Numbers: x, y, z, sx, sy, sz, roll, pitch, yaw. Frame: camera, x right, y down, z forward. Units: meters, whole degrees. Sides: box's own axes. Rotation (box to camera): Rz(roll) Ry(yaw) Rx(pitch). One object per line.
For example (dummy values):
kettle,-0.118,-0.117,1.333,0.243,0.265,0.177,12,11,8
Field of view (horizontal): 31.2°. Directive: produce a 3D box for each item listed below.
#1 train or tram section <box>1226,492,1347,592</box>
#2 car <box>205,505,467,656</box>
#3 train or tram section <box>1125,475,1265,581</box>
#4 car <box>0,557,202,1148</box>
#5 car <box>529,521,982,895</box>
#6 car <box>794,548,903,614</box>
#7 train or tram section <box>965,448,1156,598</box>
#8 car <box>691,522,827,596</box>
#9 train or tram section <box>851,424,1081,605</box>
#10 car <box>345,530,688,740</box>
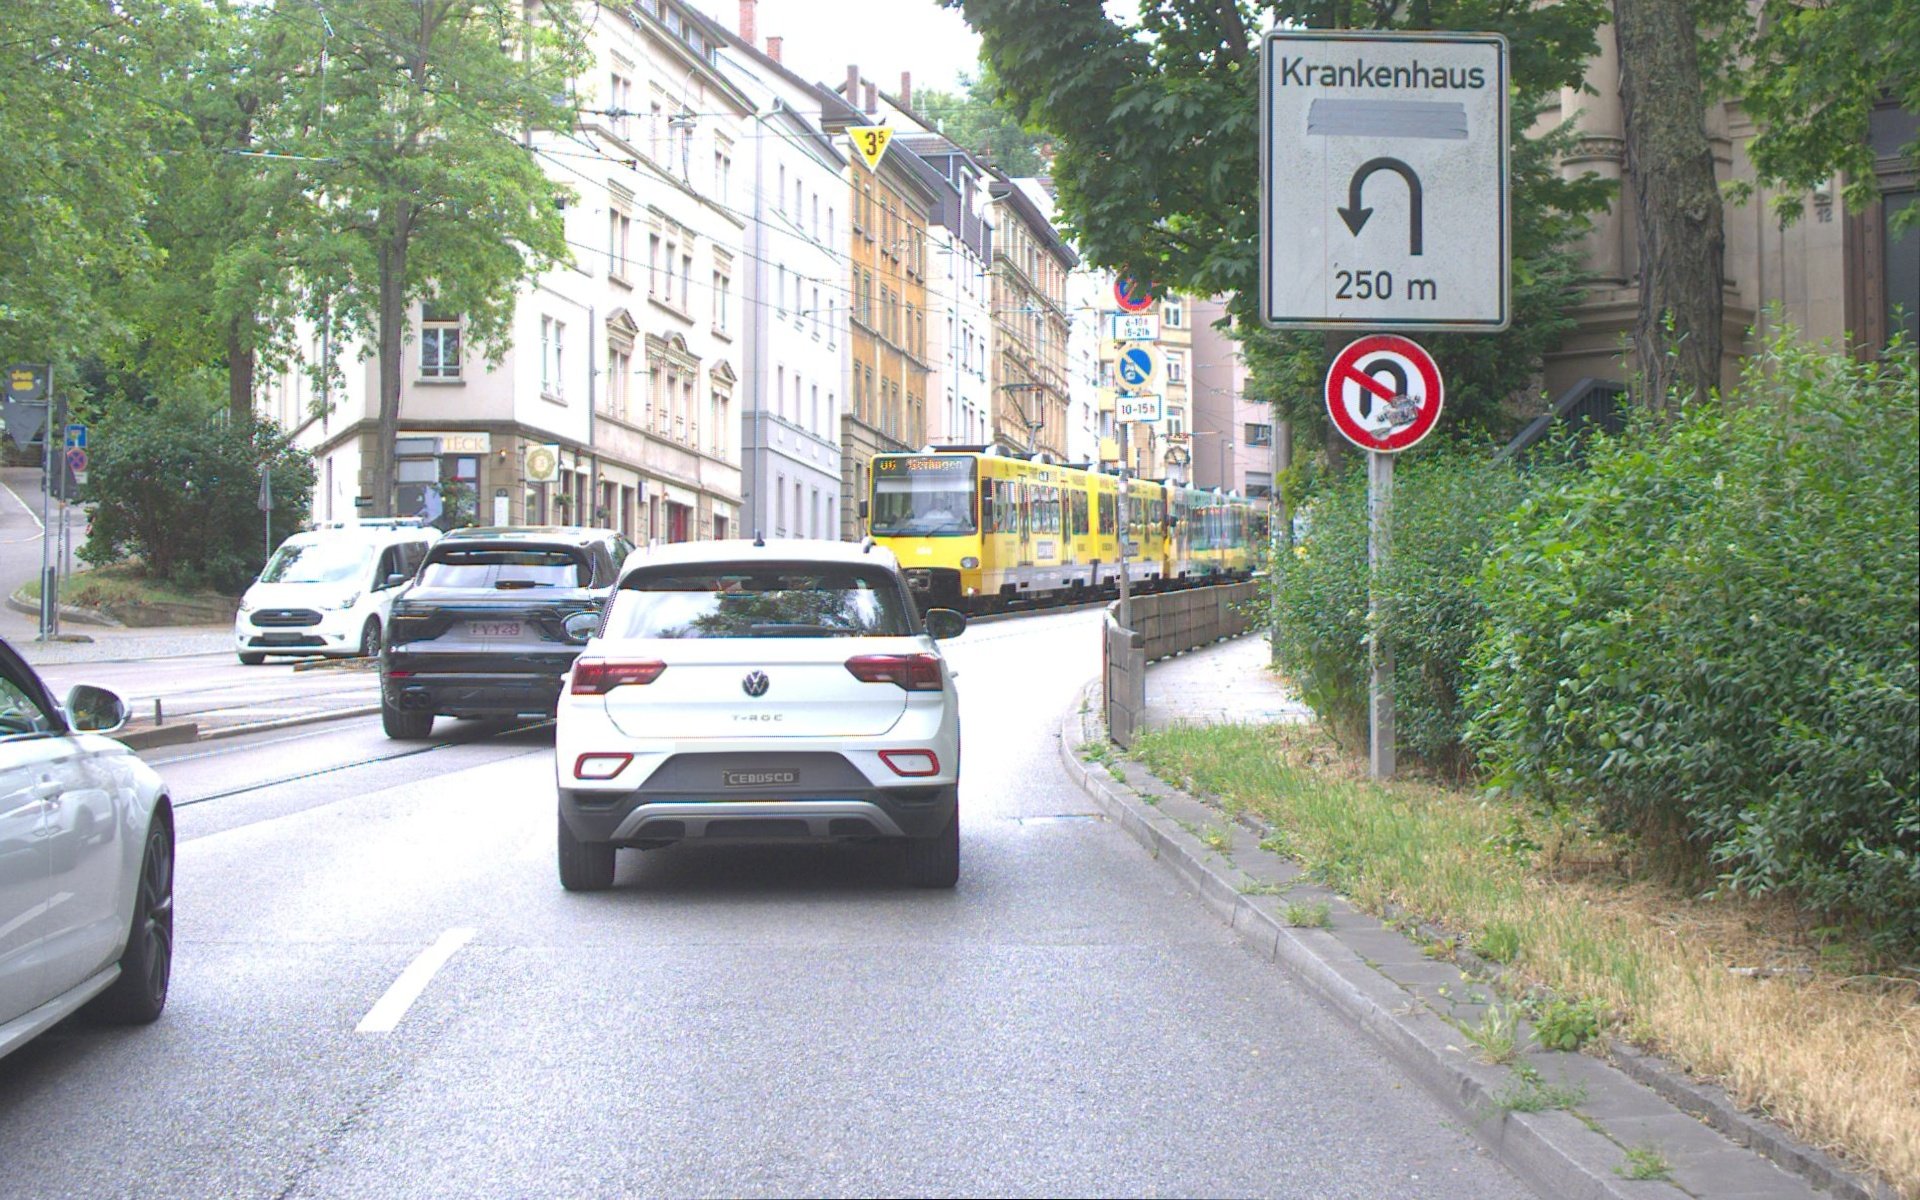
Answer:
train or tram section,14.764,-2.566,153.757,3.018,4.199,18.849,0,1,13
car,-8.406,-0.308,46.806,1.948,1.939,5.001,0,1,9
train or tram section,9.172,-2.690,131.560,2.878,3.713,18.747,2,1,11
car,-3.332,0.622,8.964,1.878,1.450,4.618,0,1,-3
car,-0.965,0.418,16.326,1.878,1.549,4.001,0,1,-3
car,-2.680,-0.486,83.291,1.994,1.546,3.999,-1,1,8
train or tram section,3.050,-2.069,95.853,2.877,3.713,18.696,1,1,9
car,-4.155,-0.860,71.580,1.994,1.498,3.998,0,1,10
train or tram section,0.371,-1.899,79.310,2.883,3.713,14.851,1,1,9
car,-3.493,0.231,27.907,2.038,1.566,4.358,0,1,3
